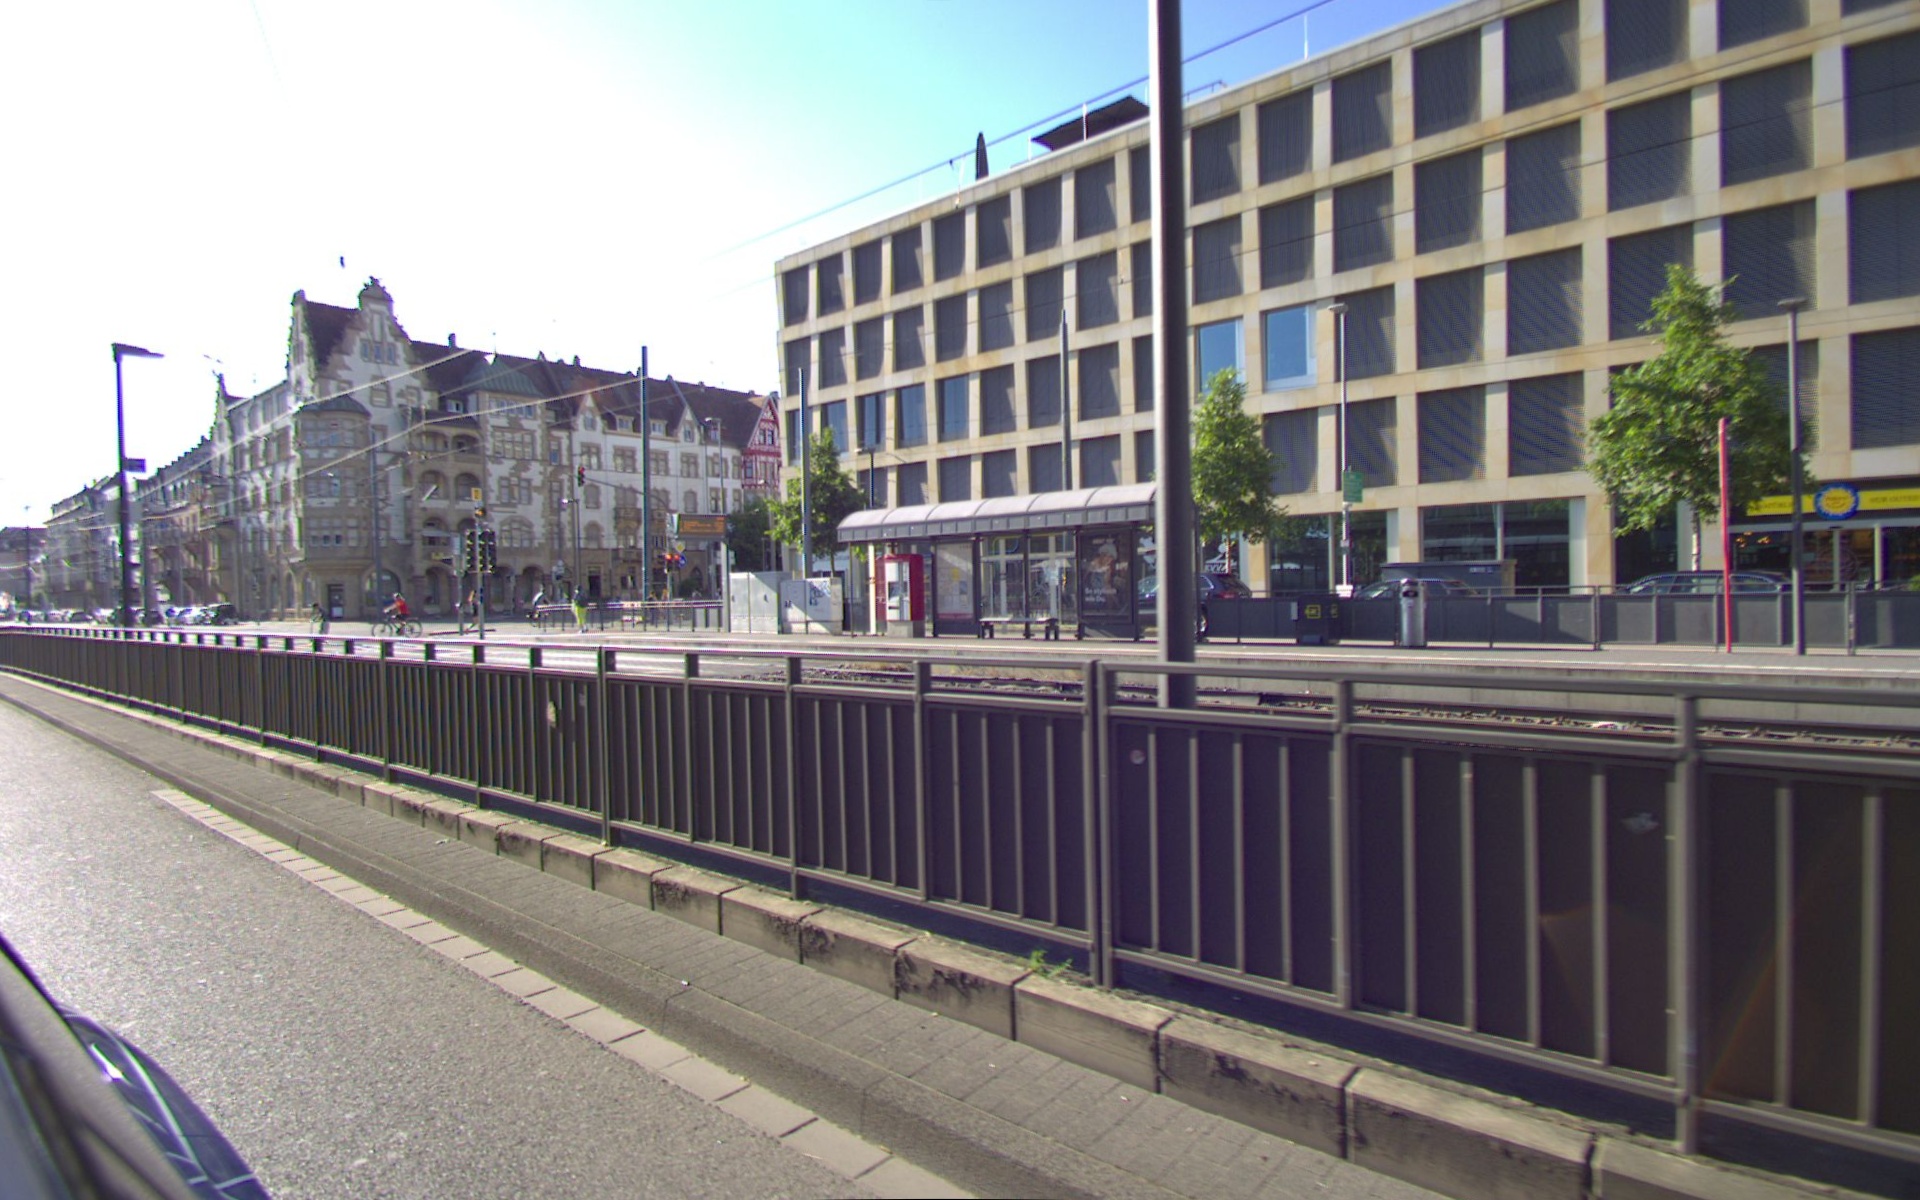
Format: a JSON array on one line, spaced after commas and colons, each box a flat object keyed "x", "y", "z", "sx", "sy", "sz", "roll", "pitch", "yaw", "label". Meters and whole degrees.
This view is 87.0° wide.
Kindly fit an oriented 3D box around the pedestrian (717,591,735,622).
[{"x": -12.879, "y": 0.366, "z": 55.700, "sx": 0.638, "sy": 1.695, "sz": 0.609, "roll": -1, "pitch": 0, "yaw": 38, "label": "pedestrian"}]

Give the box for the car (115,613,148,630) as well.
[{"x": -80.369, "y": 2.096, "z": 98.161, "sx": 3.998, "sy": 1.536, "sz": 1.719, "roll": -1, "pitch": 2, "yaw": 41, "label": "car"}]

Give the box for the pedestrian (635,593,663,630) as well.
[{"x": -14.261, "y": 0.519, "z": 46.396, "sx": 0.792, "sy": 1.657, "sz": 0.924, "roll": -1, "pitch": 0, "yaw": 28, "label": "pedestrian"}]

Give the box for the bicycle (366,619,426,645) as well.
[{"x": -21.234, "y": 1.188, "z": 38.101, "sx": 1.861, "sy": 0.884, "sz": 0.608, "roll": -2, "pitch": 0, "yaw": -41, "label": "bicycle"}]

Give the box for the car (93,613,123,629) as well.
[{"x": -89.007, "y": 2.173, "z": 105.673, "sx": 3.998, "sy": 1.536, "sz": 1.719, "roll": -1, "pitch": 2, "yaw": 41, "label": "car"}]

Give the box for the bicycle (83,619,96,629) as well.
[{"x": -87.328, "y": 2.416, "z": 101.529, "sx": 2.066, "sy": 1.010, "sz": 0.600, "roll": -1, "pitch": 0, "yaw": 39, "label": "bicycle"}]

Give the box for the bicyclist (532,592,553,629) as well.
[{"x": -20.692, "y": 0.527, "z": 50.126, "sx": 0.642, "sy": 1.821, "sz": 0.664, "roll": -2, "pitch": 0, "yaw": 18, "label": "bicyclist"}]

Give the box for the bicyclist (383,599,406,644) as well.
[{"x": -21.250, "y": 0.799, "z": 38.026, "sx": 0.620, "sy": 1.630, "sz": 0.685, "roll": -2, "pitch": 0, "yaw": -41, "label": "bicyclist"}]

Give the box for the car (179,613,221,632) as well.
[{"x": -63.009, "y": 1.868, "z": 83.863, "sx": 4.427, "sy": 1.487, "sz": 1.706, "roll": -1, "pitch": 0, "yaw": 39, "label": "car"}]

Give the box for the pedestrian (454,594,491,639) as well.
[{"x": -18.504, "y": 0.619, "z": 38.426, "sx": 0.792, "sy": 1.657, "sz": 0.924, "roll": -1, "pitch": 0, "yaw": 28, "label": "pedestrian"}]

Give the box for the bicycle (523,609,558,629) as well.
[{"x": -20.720, "y": 0.938, "z": 50.067, "sx": 0.510, "sy": 0.918, "sz": 1.878, "roll": -1, "pitch": 0, "yaw": 17, "label": "bicycle"}]

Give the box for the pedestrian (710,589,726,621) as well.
[{"x": -13.183, "y": 0.269, "z": 55.099, "sx": 0.582, "sy": 1.695, "sz": 0.609, "roll": -1, "pitch": 0, "yaw": 39, "label": "pedestrian"}]

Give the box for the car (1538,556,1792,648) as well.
[{"x": 14.233, "y": 0.045, "z": 20.537, "sx": 3.999, "sy": 1.675, "sz": 1.972, "roll": -1, "pitch": 0, "yaw": 42, "label": "car"}]

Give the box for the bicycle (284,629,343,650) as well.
[{"x": -22.965, "y": 1.402, "z": 35.980, "sx": 1.700, "sy": 0.613, "sz": 0.512, "roll": -3, "pitch": 2, "yaw": -40, "label": "bicycle"}]

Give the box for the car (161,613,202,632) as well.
[{"x": -67.173, "y": 1.963, "z": 87.297, "sx": 3.992, "sy": 1.536, "sz": 1.721, "roll": -2, "pitch": 2, "yaw": 36, "label": "car"}]

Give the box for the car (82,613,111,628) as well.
[{"x": -92.672, "y": 2.212, "z": 108.587, "sx": 3.998, "sy": 1.536, "sz": 1.719, "roll": -1, "pitch": 2, "yaw": 41, "label": "car"}]

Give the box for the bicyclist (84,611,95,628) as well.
[{"x": -87.310, "y": 1.963, "z": 101.534, "sx": 0.629, "sy": 1.630, "sz": 0.675, "roll": -1, "pitch": 0, "yaw": 38, "label": "bicyclist"}]

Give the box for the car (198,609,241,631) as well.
[{"x": -58.679, "y": 1.575, "z": 80.181, "sx": 3.996, "sy": 1.682, "sz": 1.758, "roll": -1, "pitch": 0, "yaw": 40, "label": "car"}]

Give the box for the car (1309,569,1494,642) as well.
[{"x": 10.345, "y": 0.135, "z": 23.831, "sx": 3.649, "sy": 1.573, "sz": 1.627, "roll": -1, "pitch": 0, "yaw": 42, "label": "car"}]

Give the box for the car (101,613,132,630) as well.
[{"x": -85.107, "y": 2.143, "z": 102.089, "sx": 3.998, "sy": 1.536, "sz": 1.719, "roll": -1, "pitch": 2, "yaw": 41, "label": "car"}]

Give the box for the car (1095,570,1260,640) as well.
[{"x": 5.952, "y": 0.134, "z": 27.906, "sx": 3.999, "sy": 1.782, "sz": 1.898, "roll": -1, "pitch": 0, "yaw": 42, "label": "car"}]

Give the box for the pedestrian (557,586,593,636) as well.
[{"x": -13.089, "y": 0.379, "z": 34.418, "sx": 0.933, "sy": 1.657, "sz": 0.785, "roll": -1, "pitch": 0, "yaw": 42, "label": "pedestrian"}]

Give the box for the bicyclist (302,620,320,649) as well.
[{"x": -23.025, "y": 1.219, "z": 35.886, "sx": 0.456, "sy": 1.001, "sz": 0.512, "roll": -2, "pitch": 0, "yaw": -39, "label": "bicyclist"}]

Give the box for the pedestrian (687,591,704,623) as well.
[{"x": -14.533, "y": 0.389, "z": 55.632, "sx": 0.582, "sy": 1.695, "sz": 0.609, "roll": -1, "pitch": 0, "yaw": 39, "label": "pedestrian"}]
